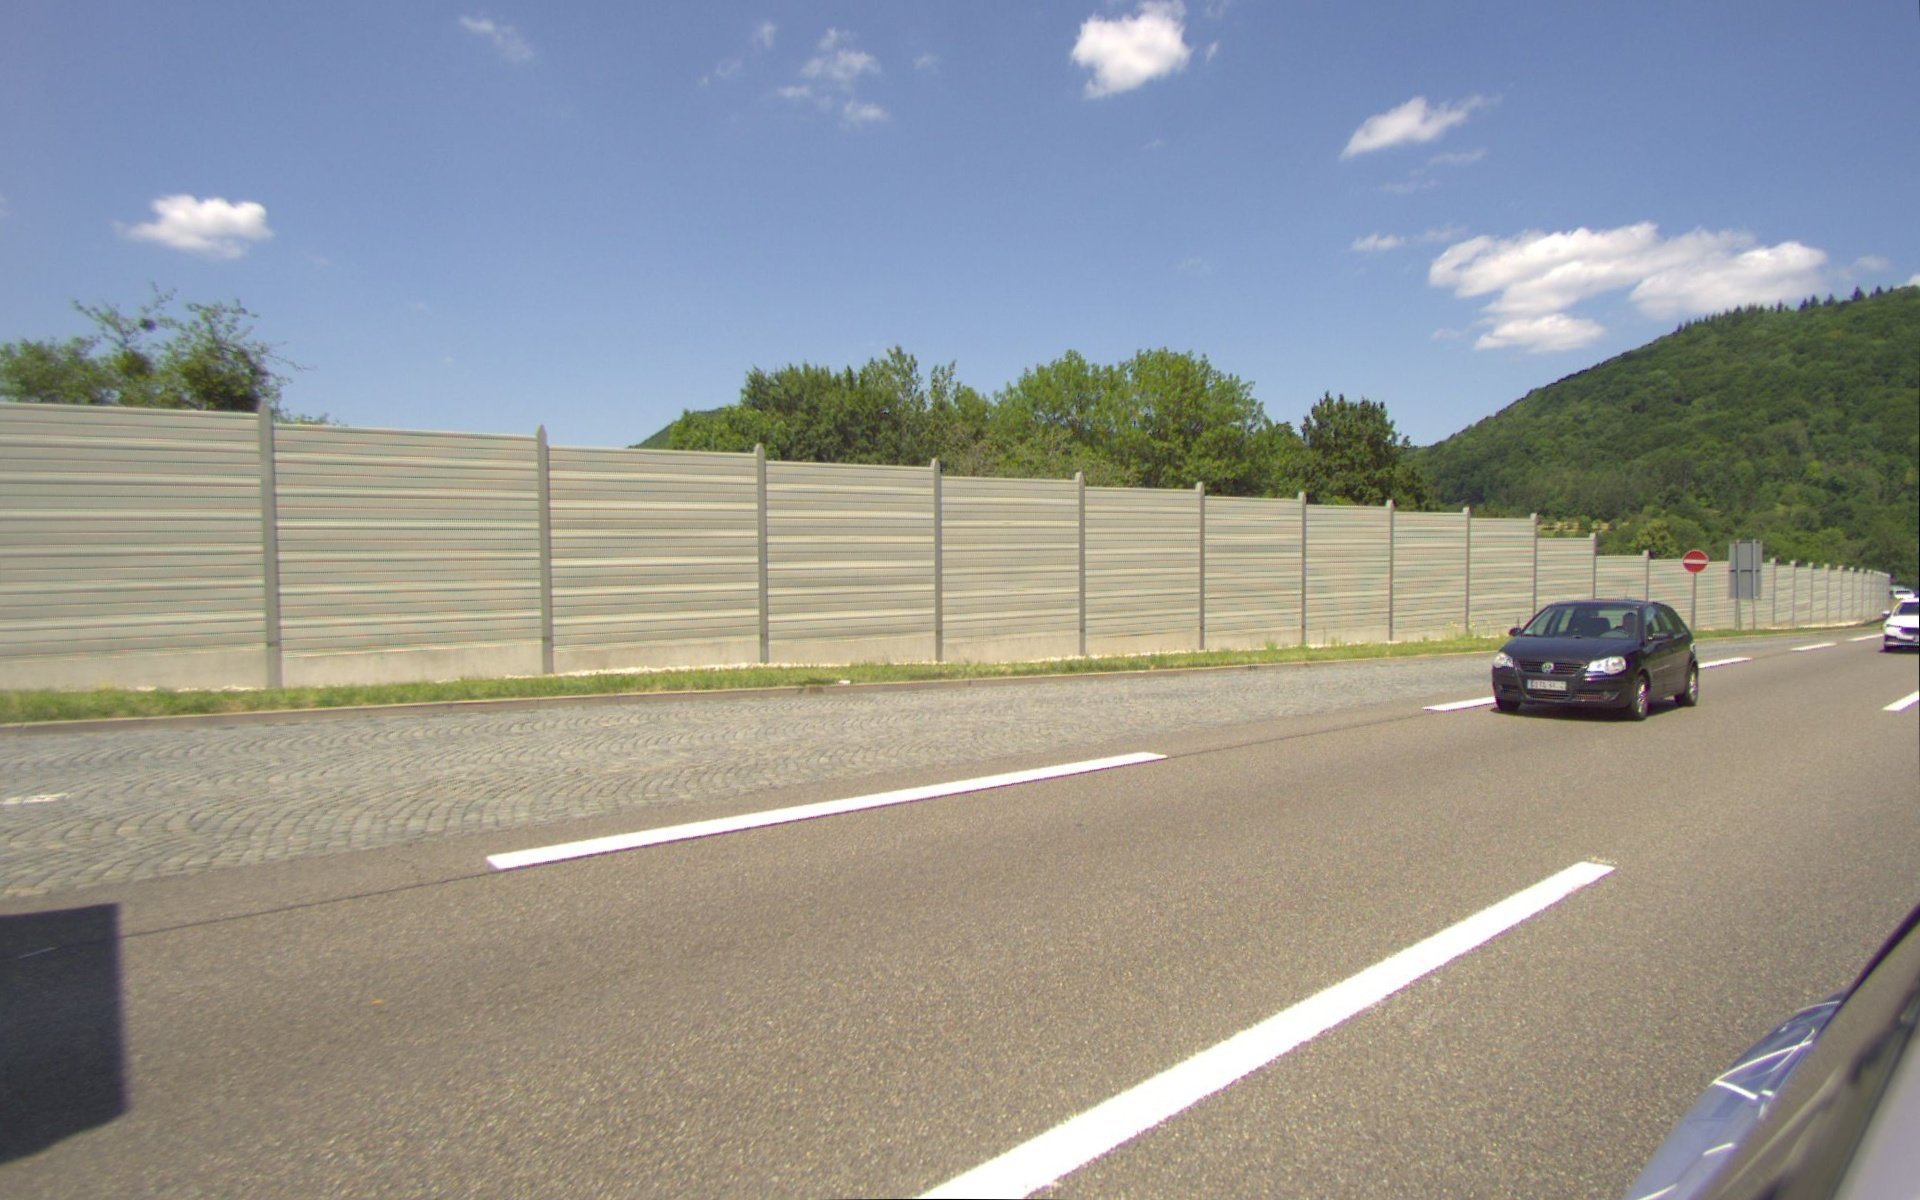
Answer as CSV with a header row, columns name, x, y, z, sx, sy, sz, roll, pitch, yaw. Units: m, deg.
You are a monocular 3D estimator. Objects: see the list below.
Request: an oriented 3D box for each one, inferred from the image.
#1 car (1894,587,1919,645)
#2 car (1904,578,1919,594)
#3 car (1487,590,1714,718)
name,x,y,z,sx,sy,sz,roll,pitch,yaw
car,26.587,0.399,27.170,3.659,1.448,1.905,-2,0,-42
car,128.219,-1.884,135.251,1.981,2.039,3.961,-2,0,28
car,8.560,0.603,13.395,3.775,1.440,1.693,-1,0,-44
